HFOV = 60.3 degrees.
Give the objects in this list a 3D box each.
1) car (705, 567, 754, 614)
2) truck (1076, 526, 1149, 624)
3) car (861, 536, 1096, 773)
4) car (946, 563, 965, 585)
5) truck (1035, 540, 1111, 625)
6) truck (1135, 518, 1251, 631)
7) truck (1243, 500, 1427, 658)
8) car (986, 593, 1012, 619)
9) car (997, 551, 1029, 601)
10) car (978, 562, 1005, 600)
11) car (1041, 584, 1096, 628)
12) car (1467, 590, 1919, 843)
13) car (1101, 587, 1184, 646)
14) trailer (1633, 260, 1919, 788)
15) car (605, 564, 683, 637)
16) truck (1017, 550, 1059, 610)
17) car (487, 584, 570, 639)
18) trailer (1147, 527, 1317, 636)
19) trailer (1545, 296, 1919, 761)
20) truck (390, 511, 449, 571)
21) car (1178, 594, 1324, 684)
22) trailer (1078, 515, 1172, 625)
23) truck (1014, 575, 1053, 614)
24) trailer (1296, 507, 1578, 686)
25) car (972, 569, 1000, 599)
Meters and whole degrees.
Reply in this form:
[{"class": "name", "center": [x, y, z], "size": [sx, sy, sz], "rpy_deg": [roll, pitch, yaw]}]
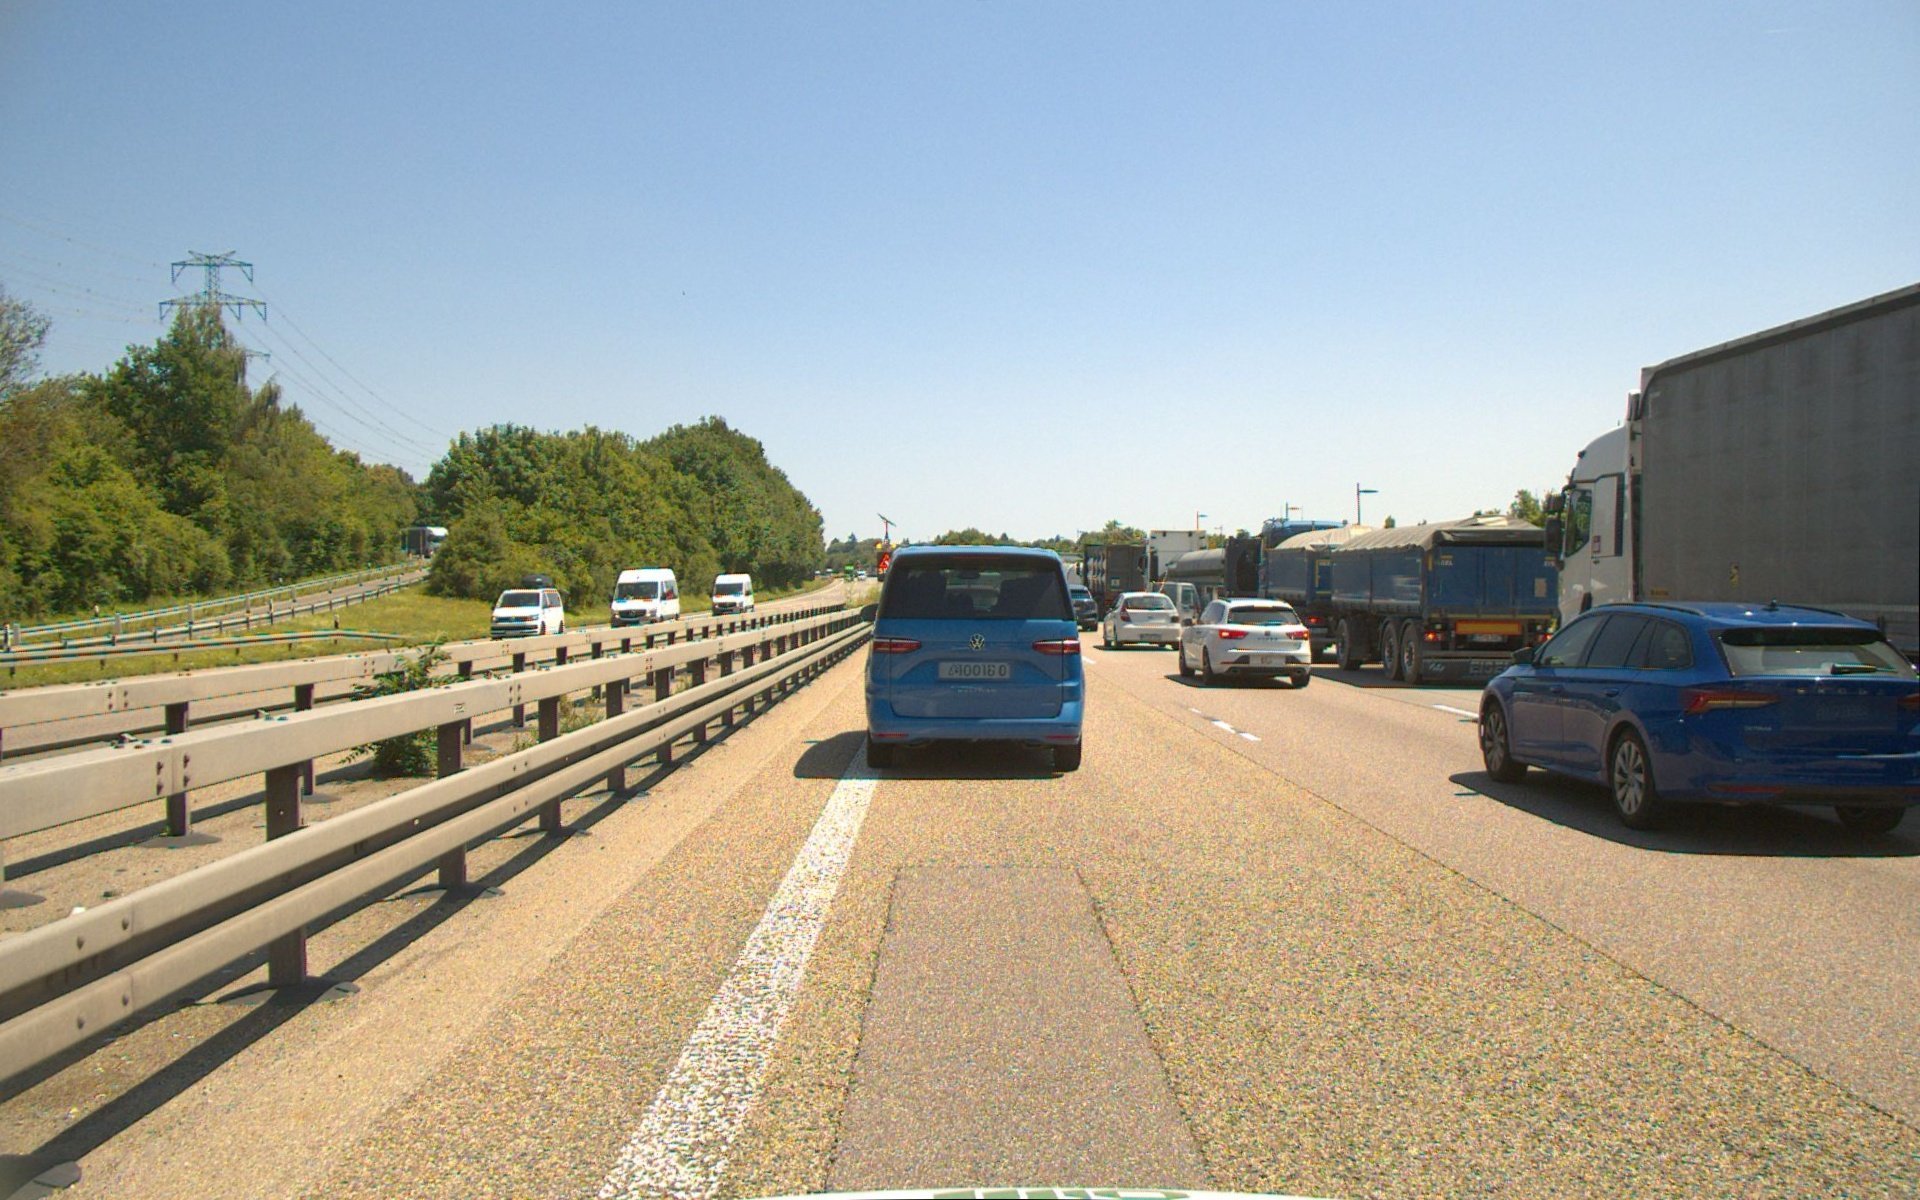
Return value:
[{"class": "car", "center": [-13.580, -0.527, 97.729], "size": [2.112, 2.639, 5.889], "rpy_deg": [-1, 0, -1]}, {"class": "truck", "center": [8.449, -1.357, 92.539], "size": [3.583, 5.270, 5.709], "rpy_deg": [1, 0, 1]}, {"class": "car", "center": [0.176, 0.450, 15.302], "size": [1.862, 1.870, 4.000], "rpy_deg": [1, 0, 1]}, {"class": "car", "center": [-0.713, -4.013, 255.224], "size": [2.436, 3.260, 7.366], "rpy_deg": [1, 0, -3]}, {"class": "truck", "center": [7.451, -1.052, 111.748], "size": [3.548, 5.304, 15.682], "rpy_deg": [1, 0, -2]}, {"class": "truck", "center": [9.090, -0.920, 65.414], "size": [3.551, 4.166, 7.524], "rpy_deg": [1, 0, 1]}, {"class": "truck", "center": [8.731, -0.514, 39.355], "size": [2.688, 3.369, 7.132], "rpy_deg": [1, 1, 0]}, {"class": "car", "center": [3.099, 0.499, 132.232], "size": [1.953, 2.049, 3.999], "rpy_deg": [1, 0, -1]}, {"class": "car", "center": [5.858, -2.615, 183.583], "size": [3.152, 5.349, 8.143], "rpy_deg": [1, 0, 0]}, {"class": "car", "center": [4.436, -2.650, 237.796], "size": [3.155, 5.349, 8.137], "rpy_deg": [1, 0, -4]}, {"class": "car", "center": [4.034, 0.226, 62.030], "size": [1.744, 1.551, 3.999], "rpy_deg": [1, 0, -1]}, {"class": "car", "center": [5.186, 0.703, 11.969], "size": [1.671, 1.466, 4.427], "rpy_deg": [1, 0, 0]}, {"class": "car", "center": [4.822, 0.429, 44.224], "size": [1.802, 1.480, 4.000], "rpy_deg": [1, 0, 0]}, {"class": "trailer", "center": [8.940, -0.579, 11.461], "size": [2.902, 4.120, 13.751], "rpy_deg": [0, 0, 0]}, {"class": "car", "center": [-12.701, 0.042, 66.855], "size": [2.011, 2.697, 5.837], "rpy_deg": [-4, 0, -1]}, {"class": "truck", "center": [6.744, -1.687, 144.991], "size": [3.006, 5.006, 10.688], "rpy_deg": [1, 0, -1]}, {"class": "car", "center": [-16.436, 0.432, 63.278], "size": [1.827, 1.938, 5.490], "rpy_deg": [-2, 0, -2]}, {"class": "trailer", "center": [8.823, -0.500, 56.169], "size": [3.571, 3.133, 15.774], "rpy_deg": [1, 0, 2]}, {"class": "trailer", "center": [8.905, -0.664, 17.855], "size": [2.865, 4.114, 6.410], "rpy_deg": [0, 1, 0]}, {"class": "truck", "center": [-71.858, -7.709, 219.548], "size": [4.623, 7.354, 13.500], "rpy_deg": [1, 0, -30]}, {"class": "car", "center": [4.890, 0.615, 28.319], "size": [1.829, 1.385, 4.000], "rpy_deg": [1, 0, 1]}, {"class": "trailer", "center": [8.388, -1.391, 85.983], "size": [3.571, 5.226, 13.075], "rpy_deg": [1, 0, 0]}, {"class": "truck", "center": [3.670, -0.246, 82.840], "size": [1.690, 1.890, 3.999], "rpy_deg": [1, 0, -1]}, {"class": "trailer", "center": [8.755, -0.135, 31.691], "size": [2.688, 2.886, 9.115], "rpy_deg": [1, 1, 0]}, {"class": "car", "center": [2.442, -1.492, 158.924], "size": [2.499, 2.765, 5.620], "rpy_deg": [1, 0, -1]}]
